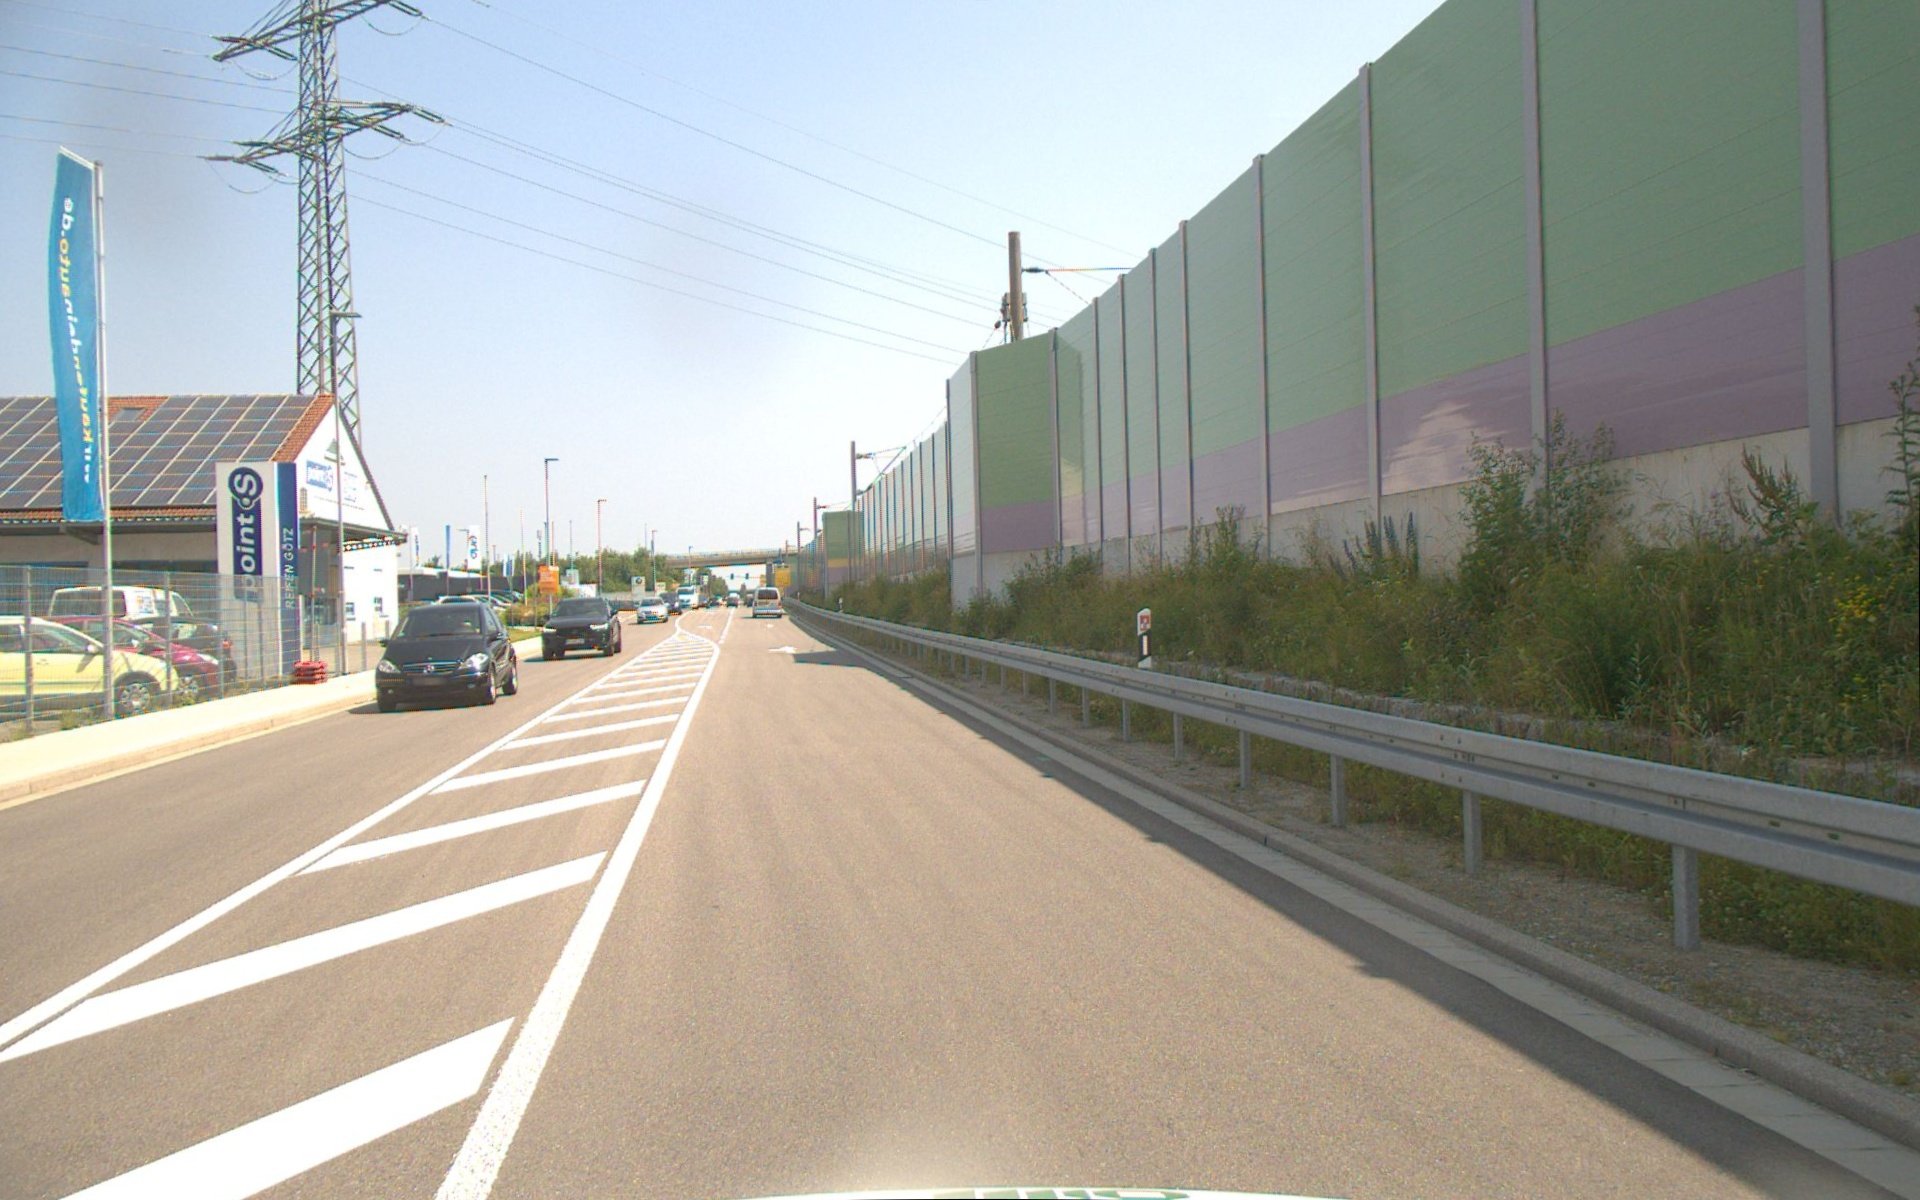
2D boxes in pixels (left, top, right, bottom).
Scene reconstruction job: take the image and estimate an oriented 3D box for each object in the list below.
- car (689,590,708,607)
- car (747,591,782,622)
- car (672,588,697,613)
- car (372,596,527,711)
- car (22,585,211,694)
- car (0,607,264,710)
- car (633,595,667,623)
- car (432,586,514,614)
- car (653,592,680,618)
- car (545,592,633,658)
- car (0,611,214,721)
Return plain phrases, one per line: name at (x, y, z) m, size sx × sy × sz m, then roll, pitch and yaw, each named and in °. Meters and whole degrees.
car at (-25.527, -0.167, 161.268) m, size 1.640 × 1.447 × 3.993 m, roll -4°, pitch 1°, yaw -8°
car at (-11.800, 0.355, 99.937) m, size 1.955 × 1.788 × 3.995 m, roll -2°, pitch 0°, yaw -6°
car at (-23.192, 0.059, 138.956) m, size 1.958 × 1.906 × 5.156 m, roll -3°, pitch 0°, yaw -10°
car at (-8.207, 0.800, 26.903) m, size 1.709 × 1.621 × 3.790 m, roll -4°, pitch 1°, yaw -8°
car at (-17.594, 0.800, 34.768) m, size 1.955 × 2.049 × 4.673 m, roll -2°, pitch 0°, yaw -6°
car at (-14.128, 0.933, 28.032) m, size 3.964 × 1.519 × 1.718 m, roll -2°, pitch 0°, yaw -41°
car at (-18.076, 0.516, 96.579) m, size 1.731 × 1.491 × 4.251 m, roll -3°, pitch 1°, yaw -8°
car at (-26.972, -0.010, 91.704) m, size 4.146 × 1.481 × 1.760 m, roll 1°, pitch 0°, yaw -10°
car at (-20.508, 0.336, 115.667) m, size 1.637 × 1.628 × 3.966 m, roll -3°, pitch 1°, yaw -8°
car at (-10.333, 0.655, 46.382) m, size 1.846 × 1.644 × 4.515 m, roll -4°, pitch 1°, yaw -7°
car at (-13.801, 0.986, 25.249) m, size 4.061 × 1.519 × 1.716 m, roll -2°, pitch 1°, yaw -43°
